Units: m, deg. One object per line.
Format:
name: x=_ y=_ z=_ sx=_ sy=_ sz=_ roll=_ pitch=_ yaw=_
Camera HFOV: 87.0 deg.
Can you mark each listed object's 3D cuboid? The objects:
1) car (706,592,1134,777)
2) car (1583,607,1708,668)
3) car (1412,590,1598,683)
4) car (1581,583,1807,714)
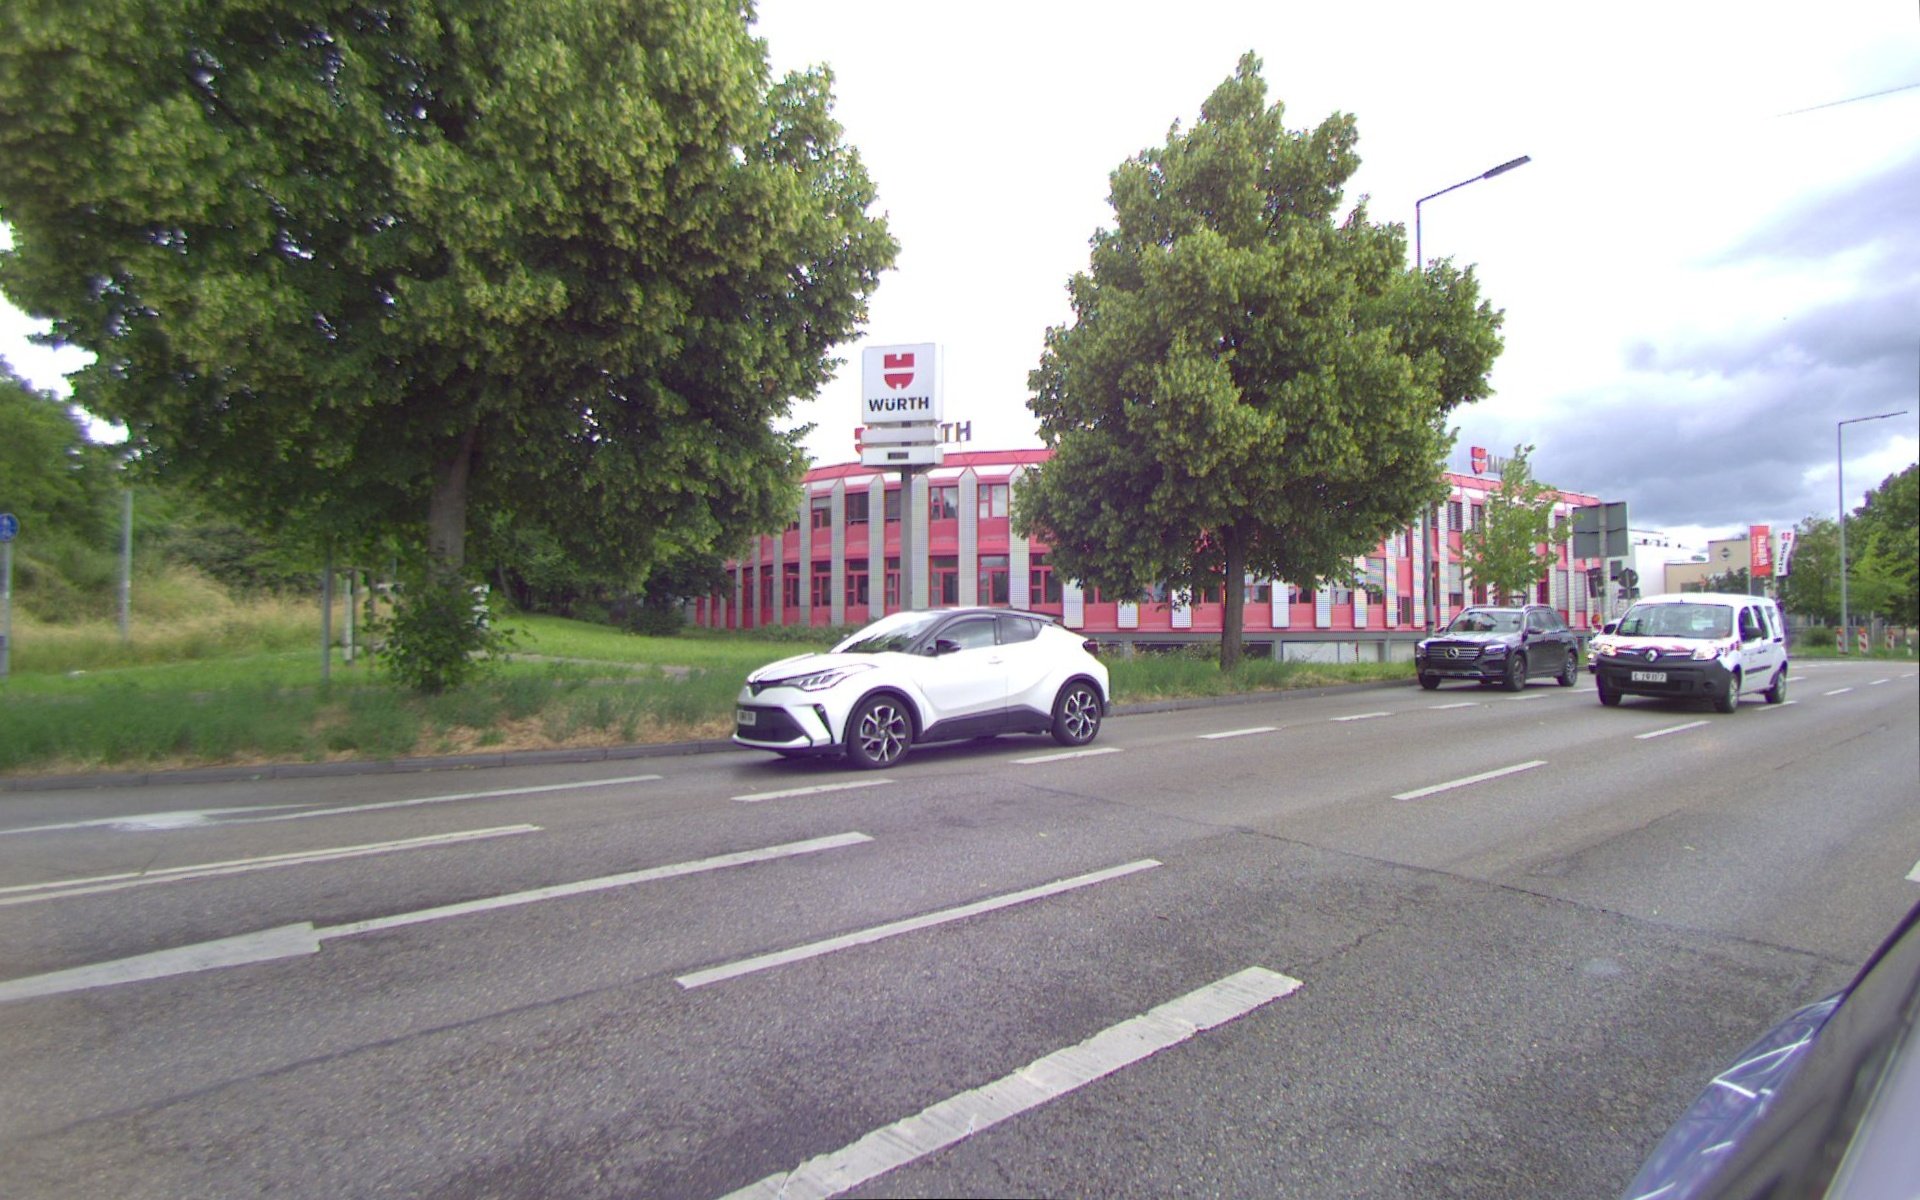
car: x=-0.294 y=0.758 z=10.582 sx=4.227 sy=1.555 sz=1.784 roll=0 pitch=-3 yaw=-39
car: x=18.193 y=0.994 z=26.809 sx=3.766 sy=1.461 sz=1.784 roll=3 pitch=-1 yaw=-40
car: x=11.001 y=0.724 z=20.302 sx=4.346 sy=1.671 sz=1.784 roll=3 pitch=-1 yaw=-40
car: x=11.989 y=0.637 z=16.407 sx=4.755 sy=1.824 sz=1.998 roll=-1 pitch=1 yaw=-41
